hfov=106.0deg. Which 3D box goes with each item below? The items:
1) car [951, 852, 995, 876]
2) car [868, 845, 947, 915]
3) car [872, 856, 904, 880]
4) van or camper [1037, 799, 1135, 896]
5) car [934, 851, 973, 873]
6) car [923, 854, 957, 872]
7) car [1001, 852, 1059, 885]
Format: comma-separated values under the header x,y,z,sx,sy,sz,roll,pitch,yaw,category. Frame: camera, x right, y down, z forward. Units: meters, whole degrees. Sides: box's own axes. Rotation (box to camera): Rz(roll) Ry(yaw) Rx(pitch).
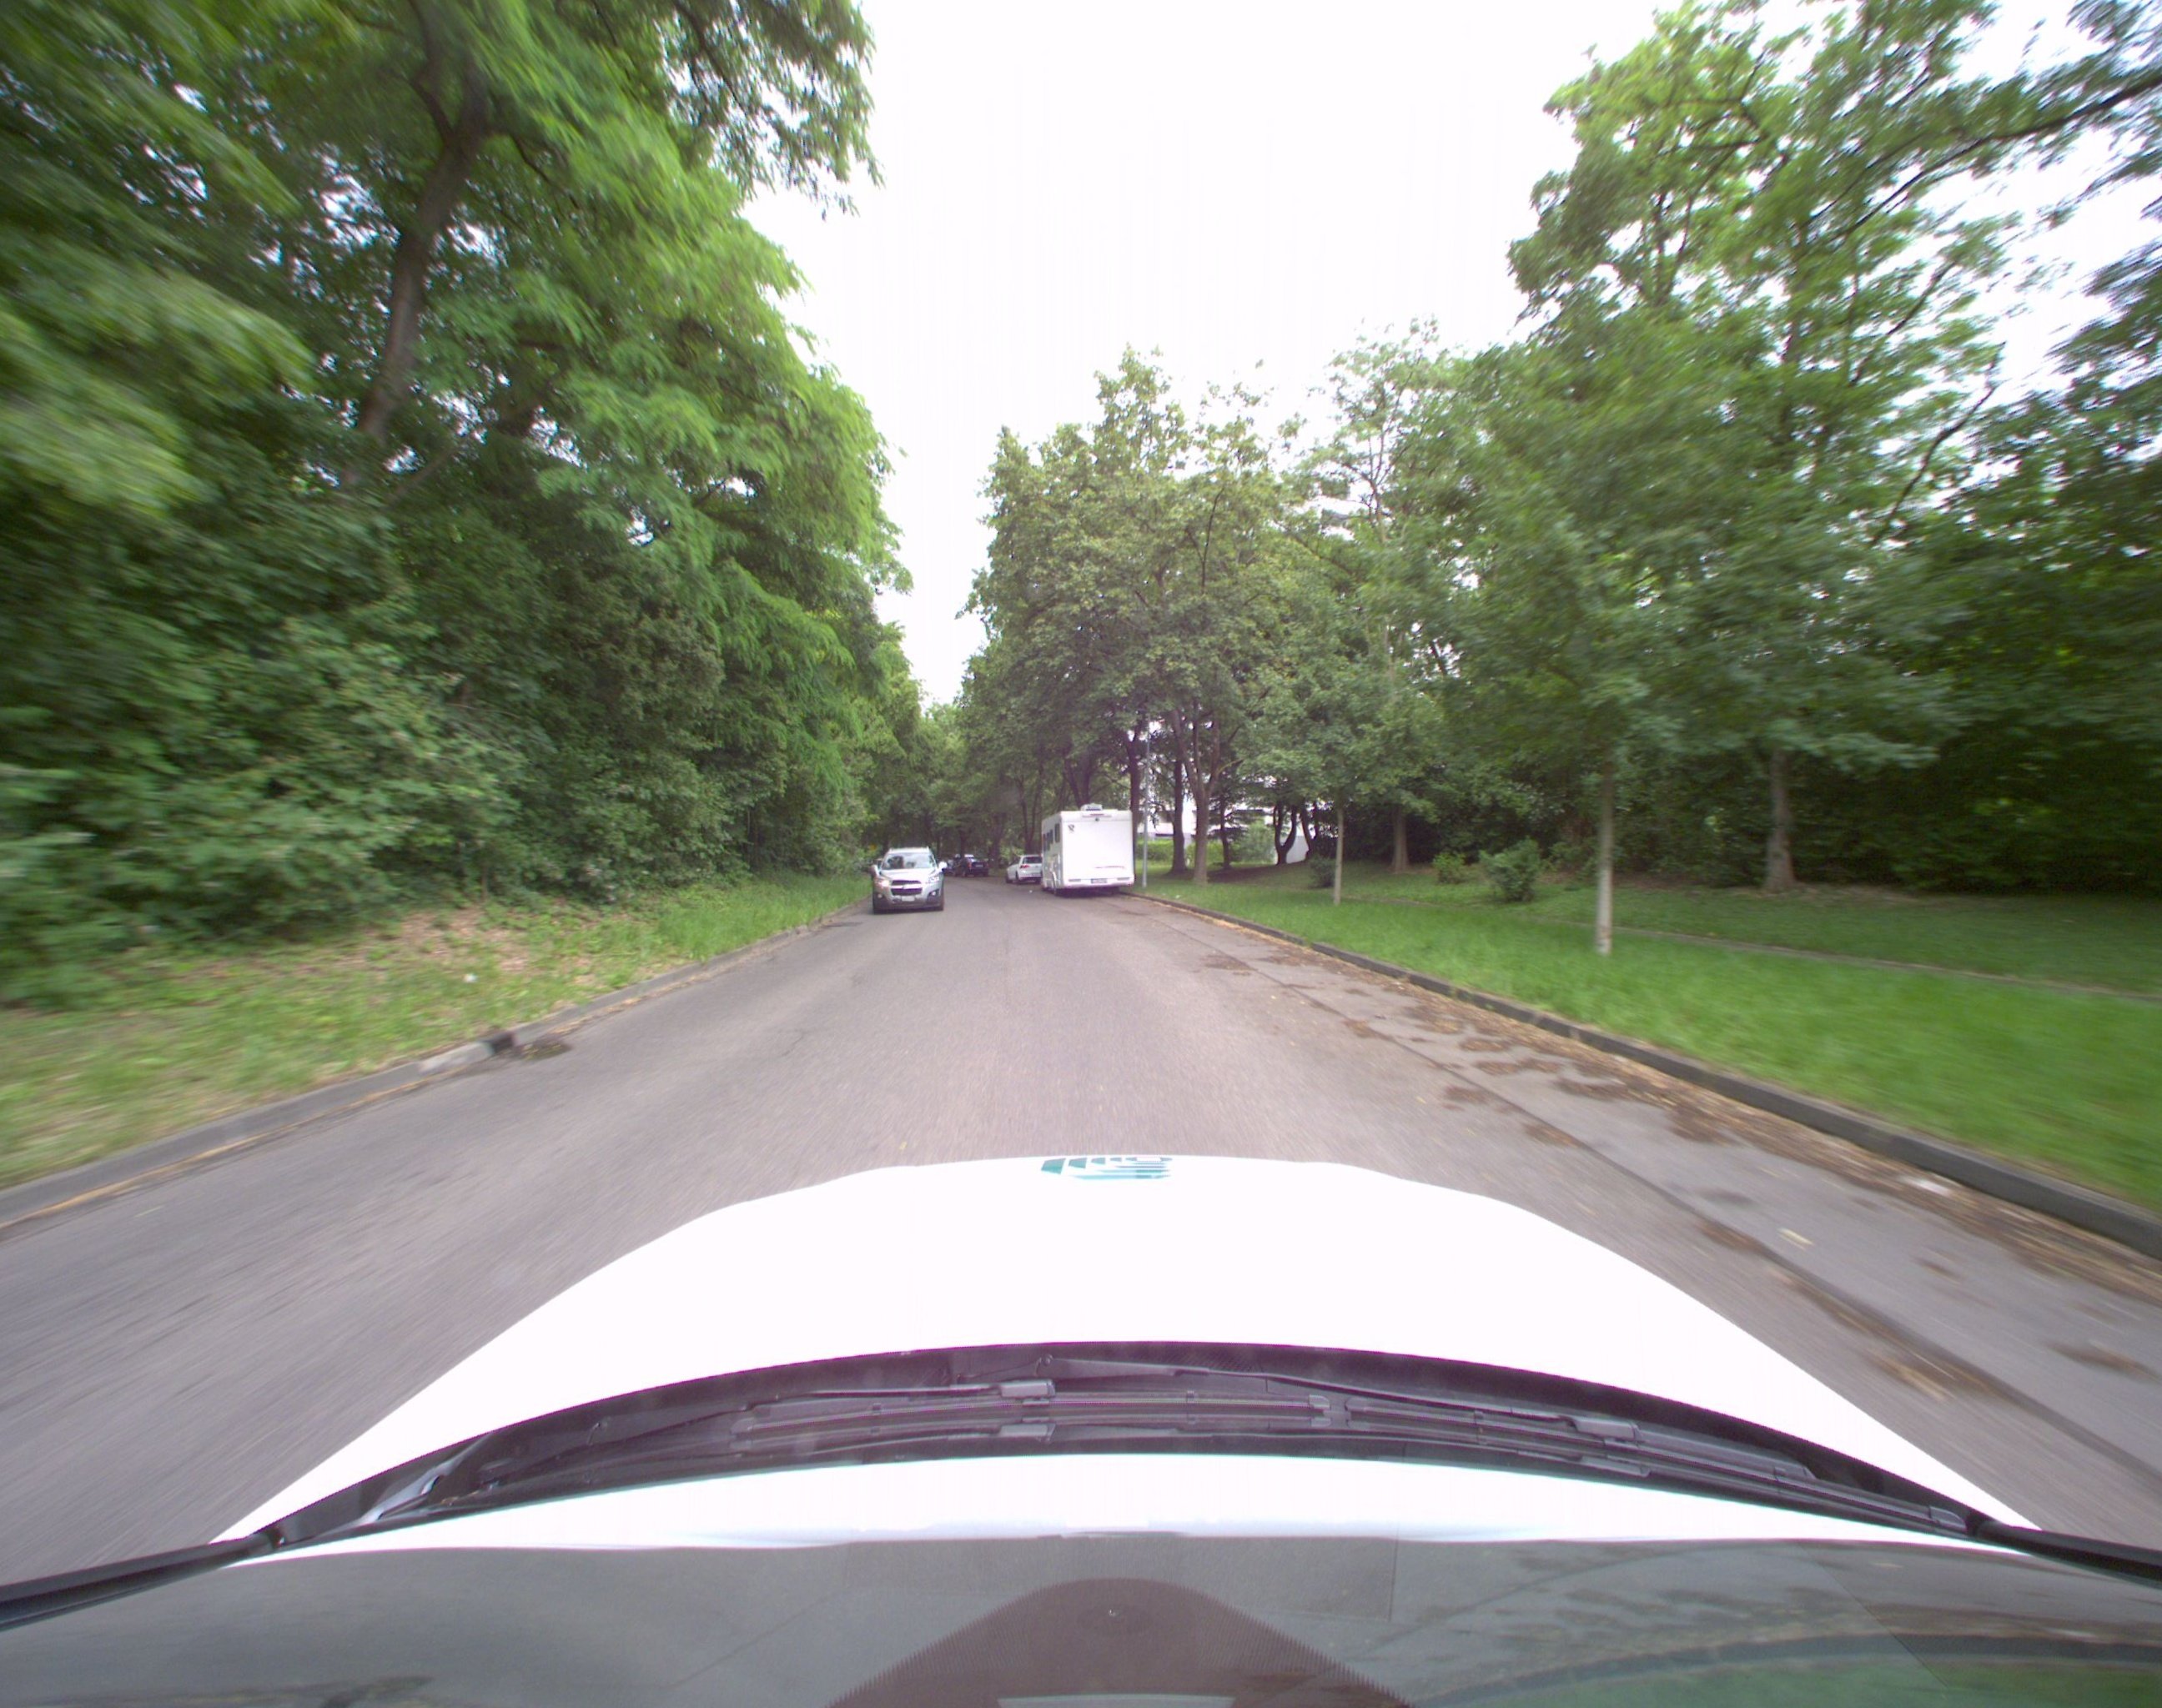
x,y,z,sx,sy,sz,roll,pitch,yaw,category
-7.586,0.670,57.029,2.002,1.500,3.969,1,1,-23,car
-4.753,0.623,22.919,1.857,1.663,4.556,-3,1,-9,car
-13.354,0.937,56.186,1.817,1.467,3.977,-2,1,-17,car
0.044,-0.280,28.279,2.430,3.007,5.190,-1,1,-11,van or camper
-9.838,0.608,62.676,2.002,1.613,3.969,-1,0,-23,car
-11.603,0.737,66.823,2.001,1.322,3.971,-2,1,-22,car
-2.652,0.712,41.216,1.999,1.473,3.976,1,1,-18,car
